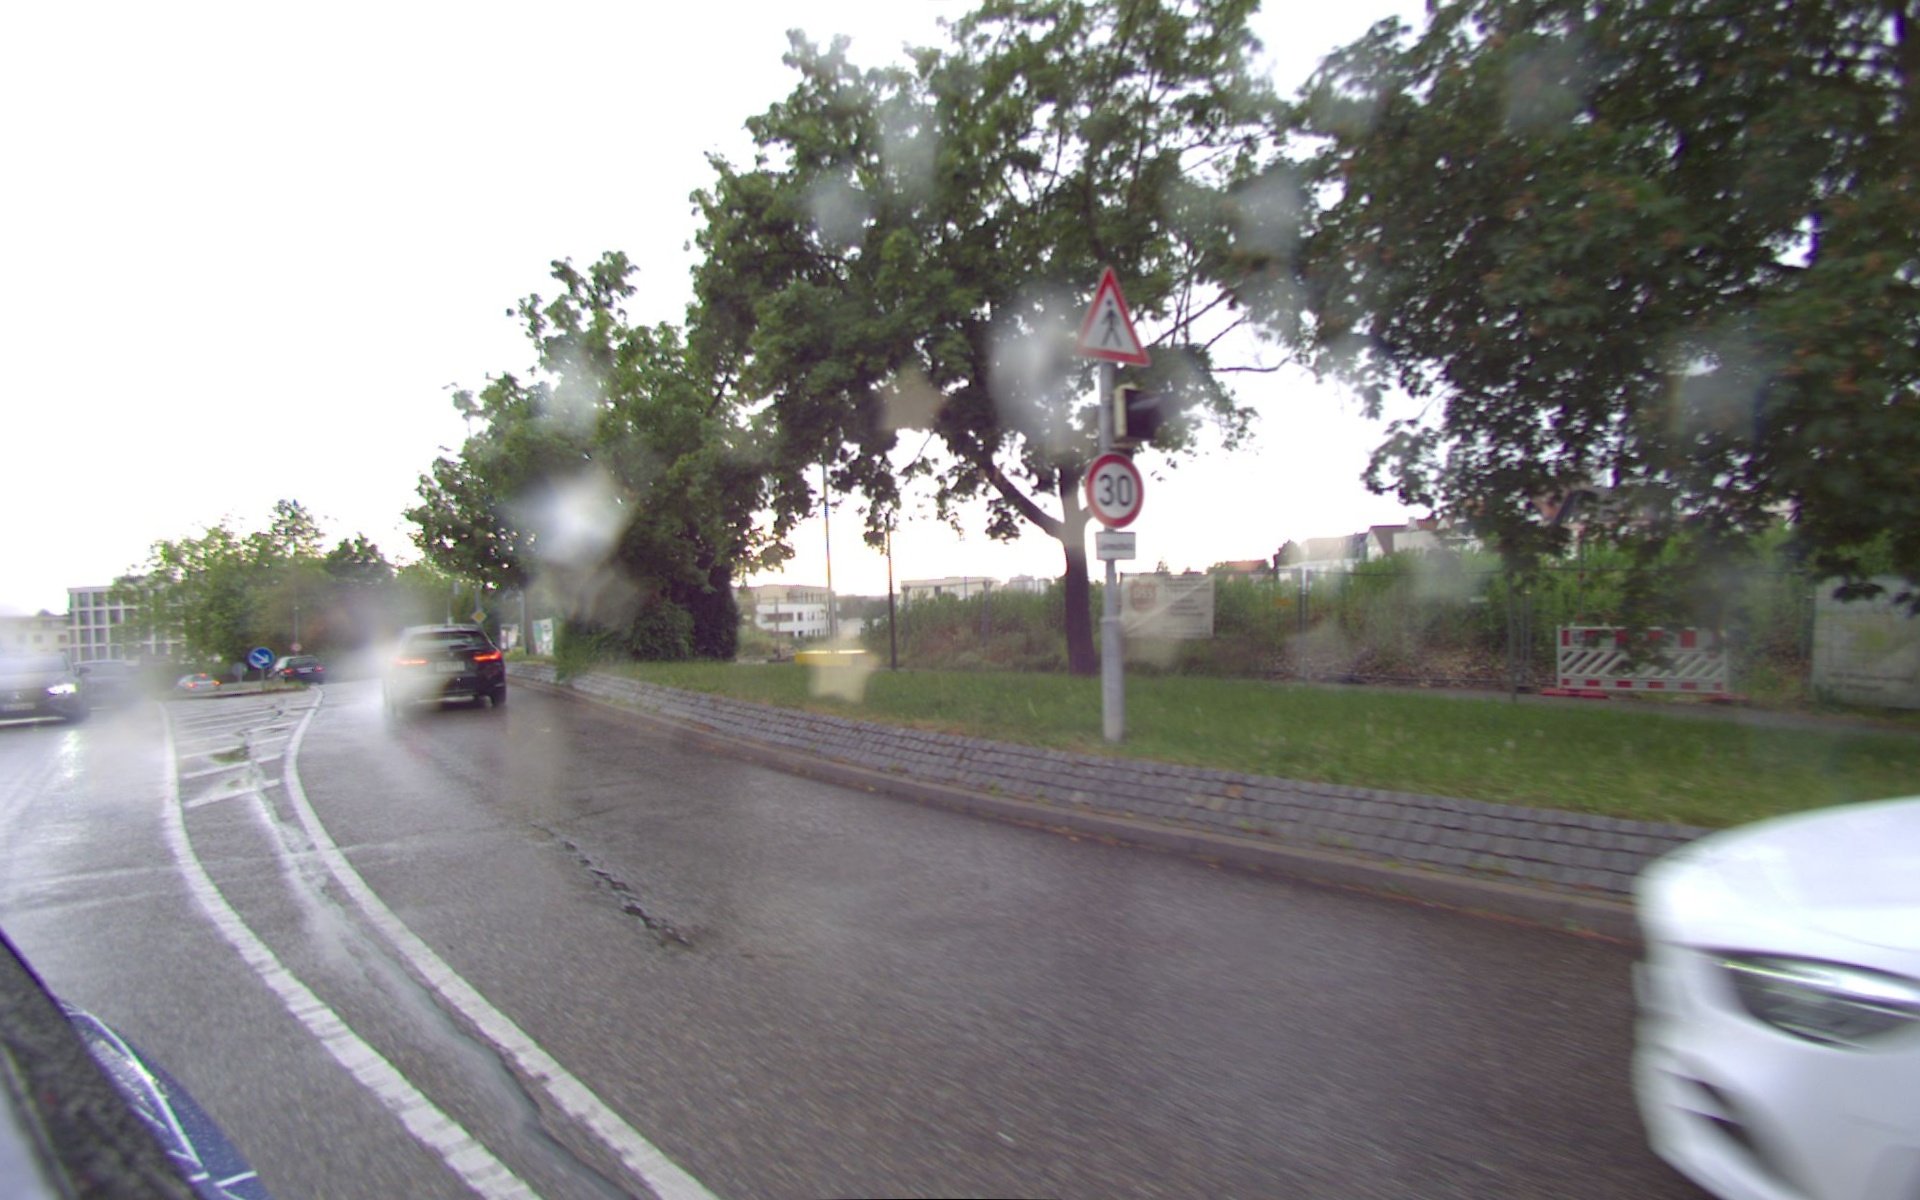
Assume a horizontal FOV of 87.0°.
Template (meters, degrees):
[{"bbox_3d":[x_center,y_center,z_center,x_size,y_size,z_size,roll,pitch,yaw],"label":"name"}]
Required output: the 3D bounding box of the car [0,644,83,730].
[{"bbox_3d":[-19.511,1.794,20.999,1.811,1.525,4.856,-5,0,-40],"label":"car"}]

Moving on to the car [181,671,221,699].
[{"bbox_3d":[-49.803,5.532,66.369,1.624,1.563,4.160,-6,1,-41],"label":"car"}]

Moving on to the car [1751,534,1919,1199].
[{"bbox_3d":[3.743,0.612,1.312,4.253,1.516,1.707,-1,0,39],"label":"car"}]

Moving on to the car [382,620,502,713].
[{"bbox_3d":[-9.482,1.106,18.364,1.711,1.421,4.066,-2,0,-30],"label":"car"}]

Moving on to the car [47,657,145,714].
[{"bbox_3d":[-24.882,2.481,29.277,1.763,1.357,4.955,-4,-2,-37],"label":"car"}]

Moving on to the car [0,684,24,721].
[{"bbox_3d":[-44.883,4.839,46.704,4.941,1.507,1.876,-7,-3,40],"label":"car"}]

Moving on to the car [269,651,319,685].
[{"bbox_3d":[-33.488,3.416,50.853,1.620,1.532,4.077,-3,-1,-40],"label":"car"}]
